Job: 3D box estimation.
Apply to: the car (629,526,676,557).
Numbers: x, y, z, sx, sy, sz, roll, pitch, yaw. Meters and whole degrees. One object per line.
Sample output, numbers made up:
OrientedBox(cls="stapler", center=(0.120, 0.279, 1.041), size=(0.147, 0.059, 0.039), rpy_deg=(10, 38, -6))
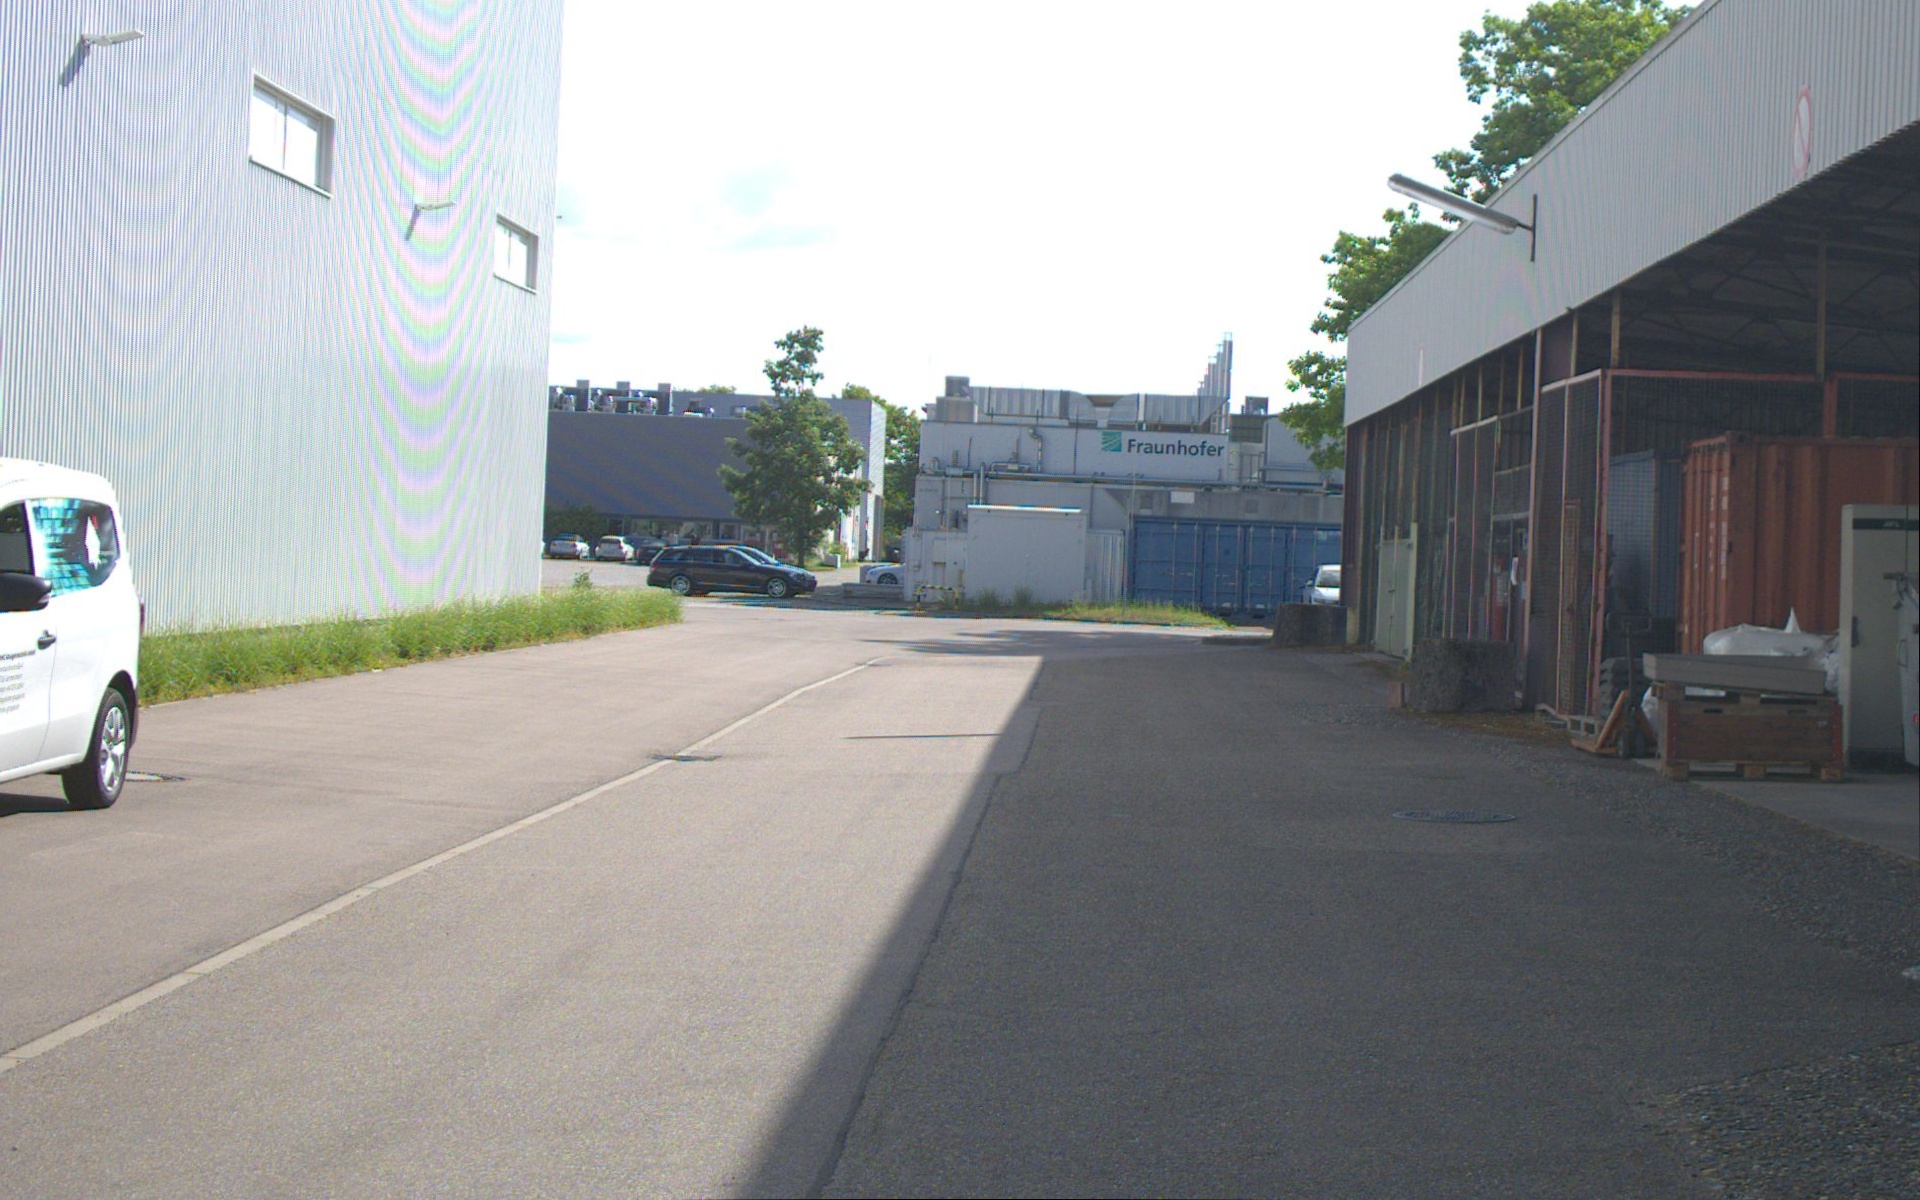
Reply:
OrientedBox(cls="car", center=(-17.394, -3.296, 194.856), size=(2.193, 1.730, 4.000), rpy_deg=(1, 0, 2))

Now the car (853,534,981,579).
OrientedBox(cls="car", center=(-1.567, -1.600, 126.337), size=(4.526, 1.503, 1.909), rpy_deg=(2, 1, 3))

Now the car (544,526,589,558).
OrientedBox(cls="car", center=(-22.485, -3.306, 196.434), size=(1.993, 1.730, 4.000), rpy_deg=(1, 0, 2))

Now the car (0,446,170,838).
OrientedBox(cls="car", center=(-5.387, 0.128, 16.638), size=(1.890, 1.839, 4.358), rpy_deg=(4, 1, 2))

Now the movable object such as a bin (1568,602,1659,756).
OrientedBox(cls="movable object such as a bin", center=(5.148, 0.608, 27.131), size=(0.582, 1.160, 1.238), rpy_deg=(1, 1, 6))

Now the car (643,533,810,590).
OrientedBox(cls="car", center=(-6.707, -1.118, 98.933), size=(4.526, 1.503, 1.908), rpy_deg=(2, 1, 4))

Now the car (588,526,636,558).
OrientedBox(cls="car", center=(-19.888, -3.309, 196.671), size=(2.193, 1.730, 4.000), rpy_deg=(1, 0, 2))

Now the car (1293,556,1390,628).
OrientedBox(cls="car", center=(9.459, -0.223, 85.507), size=(1.993, 1.580, 4.173), rpy_deg=(2, 2, 2))

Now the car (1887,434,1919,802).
OrientedBox(cls="car", center=(8.528, 0.190, 21.302), size=(4.979, 2.317, 2.000), rpy_deg=(2, 1, 3))
